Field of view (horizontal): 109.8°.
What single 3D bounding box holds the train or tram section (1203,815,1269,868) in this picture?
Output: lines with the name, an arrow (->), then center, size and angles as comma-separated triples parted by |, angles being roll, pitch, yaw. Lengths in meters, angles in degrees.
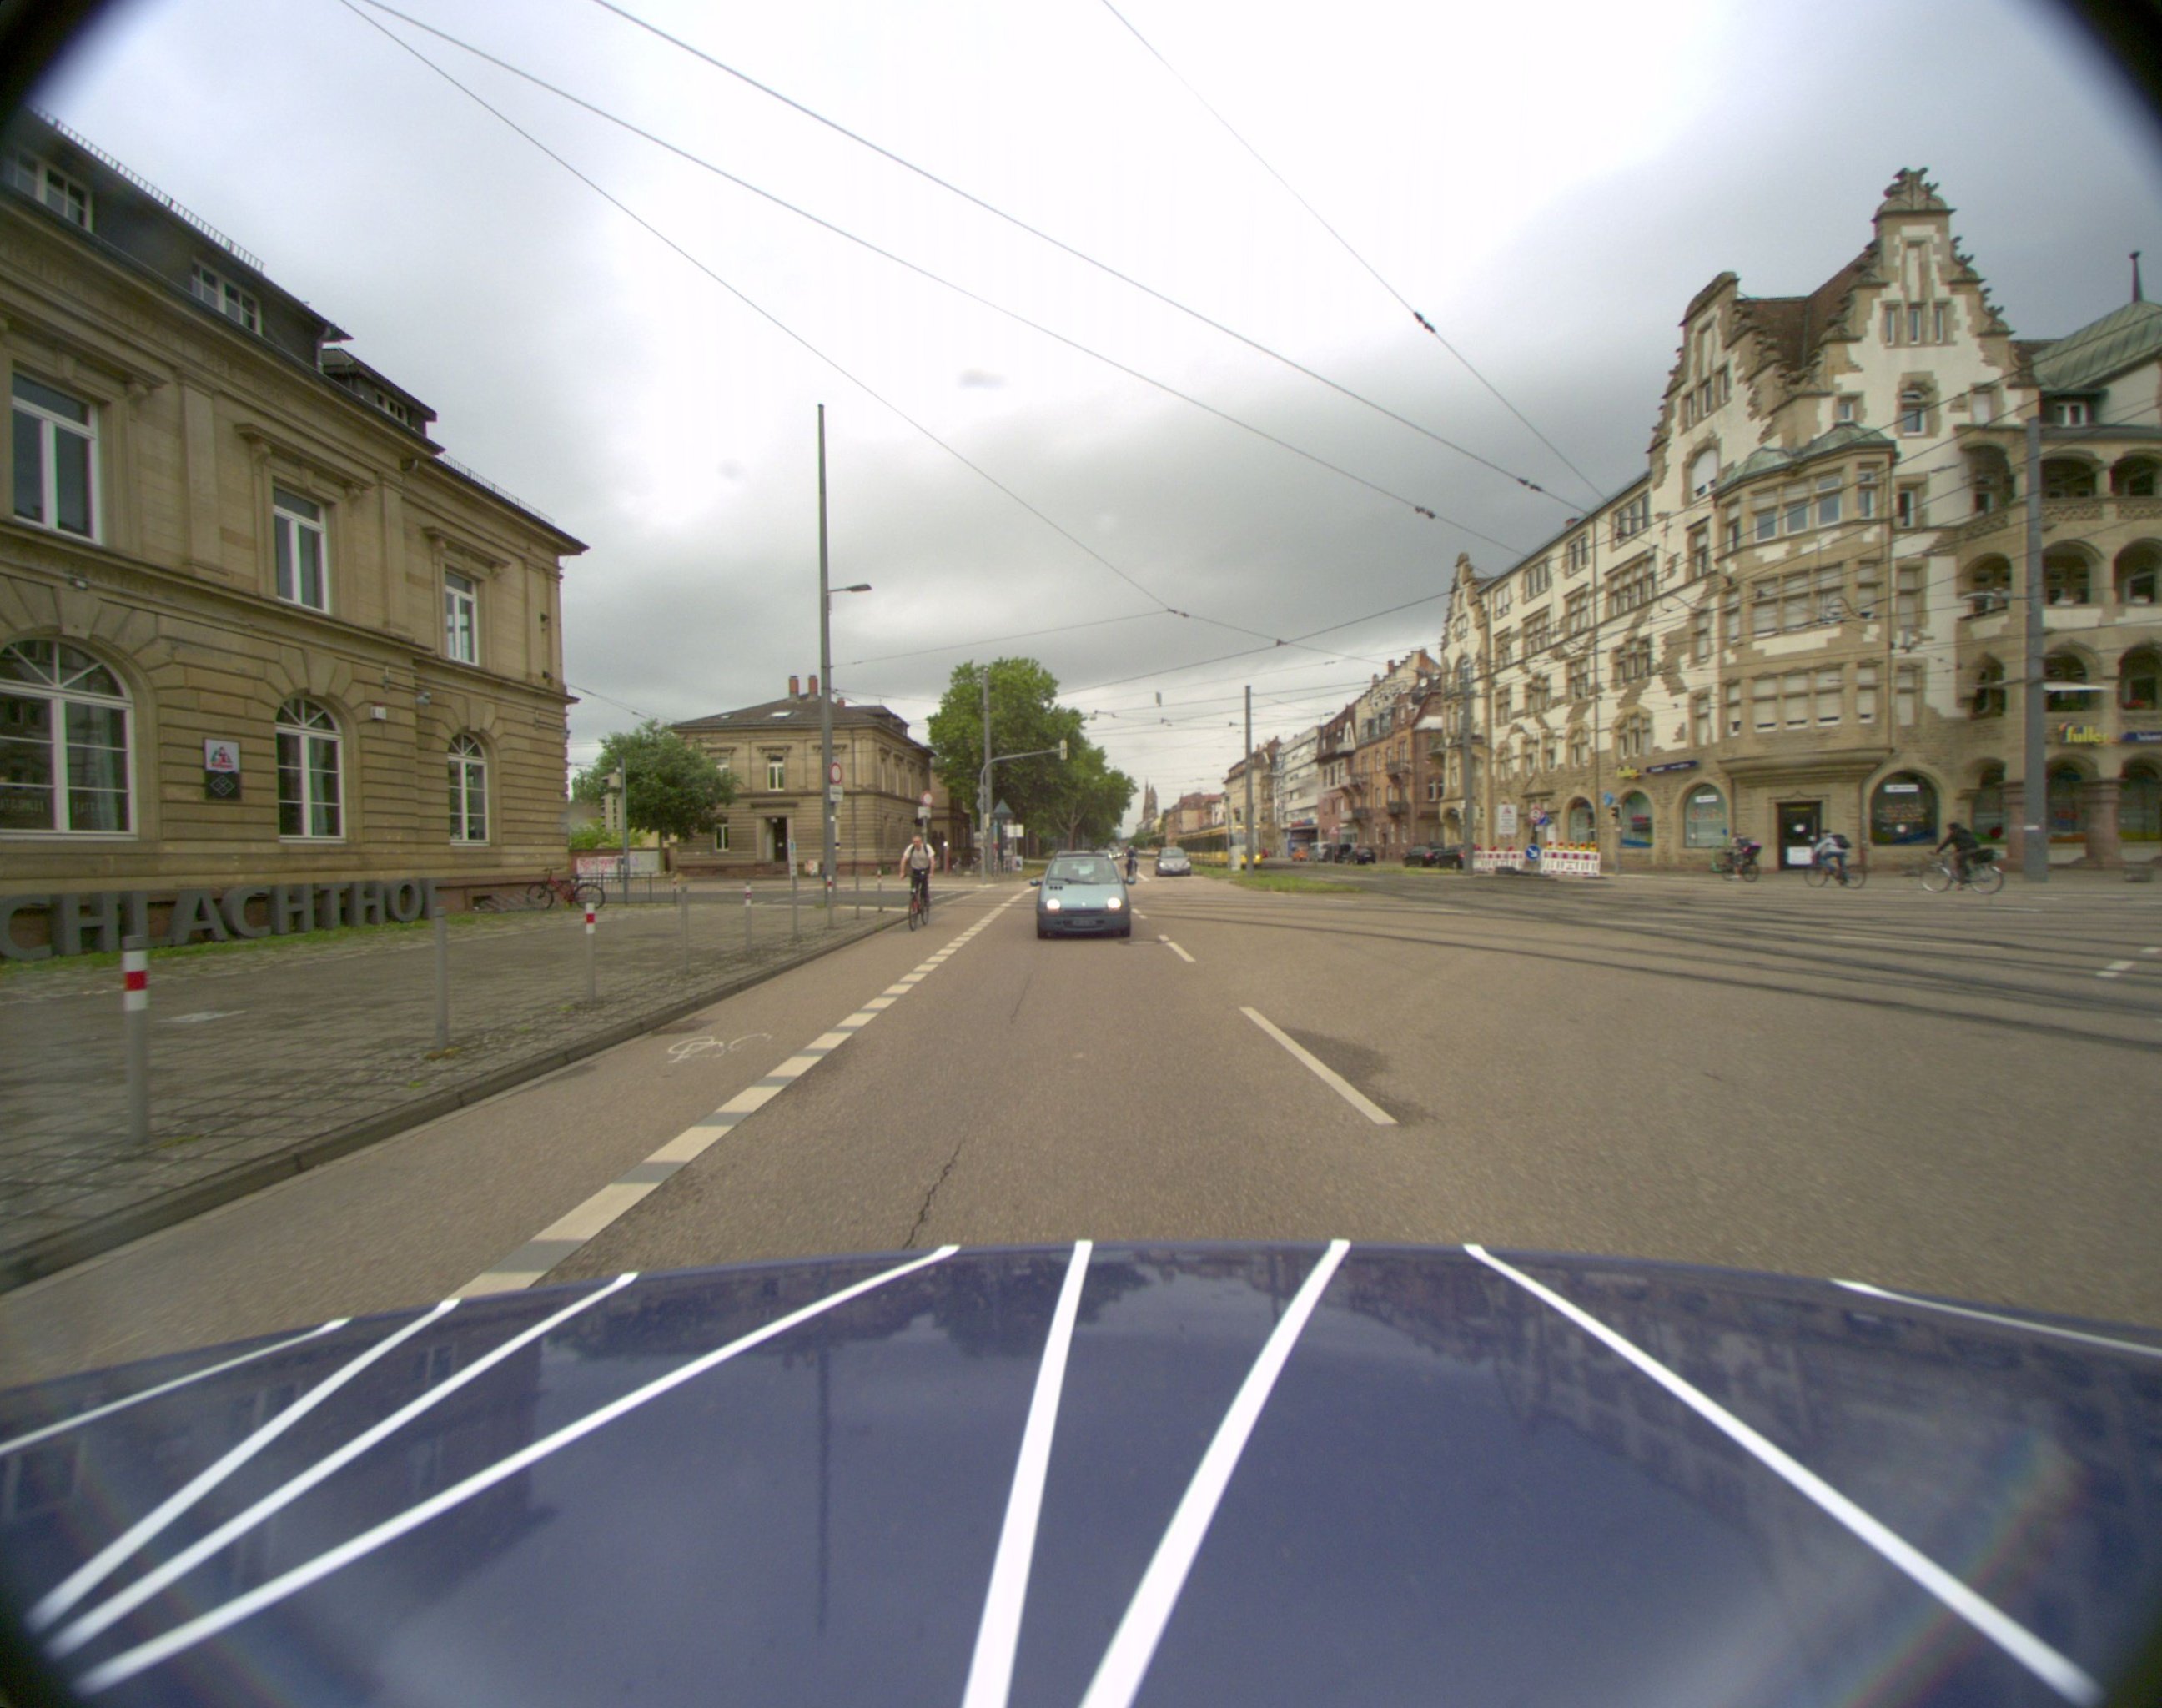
train or tram section -> 11.242, -0.962, 56.615 | 2.651, 3.418, 13.618 | -1, 1, 2

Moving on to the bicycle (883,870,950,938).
bicycle -> -3.279, 0.969, 15.373 | 0.814, 1.163, 2.276 | -1, 1, 0

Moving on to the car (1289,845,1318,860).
car -> 24.860, -0.197, 84.907 | 1.999, 1.587, 3.999 | -1, 1, -1

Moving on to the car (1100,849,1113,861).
car -> 2.990, 0.068, 90.335 | 1.546, 1.336, 3.796 | -1, 1, 1

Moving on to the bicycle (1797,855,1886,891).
bicycle -> 22.889, 0.557, 22.932 | 0.724, 1.031, 1.909 | -1, 0, -2

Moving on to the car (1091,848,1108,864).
car -> 1.787, 0.146, 72.543 | 1.534, 1.464, 3.353 | 0, 1, 3

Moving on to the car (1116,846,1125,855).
car -> 10.275, -0.929, 196.860 | 1.998, 2.002, 3.999 | -1, 1, 0

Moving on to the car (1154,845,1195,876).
car -> 5.231, 0.312, 42.991 | 1.869, 1.631, 3.774 | -1, 1, 0

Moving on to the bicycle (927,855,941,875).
bicycle -> -9.253, 0.673, 47.849 | 0.677, 1.158, 2.112 | -1, 1, -7

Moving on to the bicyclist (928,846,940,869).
bicyclist -> -9.236, 0.229, 47.846 | 0.695, 1.392, 0.815 | -1, 2, -9

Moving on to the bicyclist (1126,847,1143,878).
bicyclist -> 2.766, 0.440, 39.462 | 0.812, 1.587, 0.890 | -1, 0, 0

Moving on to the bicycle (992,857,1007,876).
bicycle -> -4.993, 0.757, 46.845 | 0.718, 1.062, 1.699 | -1, 1, 0

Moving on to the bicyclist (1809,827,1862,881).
bicyclist -> 22.876, 0.005, 23.058 | 0.724, 1.596, 0.859 | -1, 0, -2

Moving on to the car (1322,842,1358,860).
car -> 24.382, -0.339, 71.564 | 1.999, 1.587, 3.999 | -1, 1, -1

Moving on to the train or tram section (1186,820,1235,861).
train or tram section -> 11.720, -1.295, 70.190 | 2.651, 3.418, 13.618 | -1, 1, 2

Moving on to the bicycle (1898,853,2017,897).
bicycle -> 22.061, 0.515, 19.191 | 0.751, 1.030, 1.915 | -1, -1, -2

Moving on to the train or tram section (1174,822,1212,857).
train or tram section -> 12.196, -1.619, 83.806 | 2.651, 3.418, 13.618 | -1, 1, 2

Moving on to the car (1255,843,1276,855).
car -> 26.444, -0.749, 109.290 | 1.999, 1.587, 3.999 | -1, 1, -1

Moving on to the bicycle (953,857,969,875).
bicycle -> -7.376, 0.723, 46.851 | 0.718, 1.062, 1.699 | -1, 1, 0

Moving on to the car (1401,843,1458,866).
car -> 23.940, 0.018, 52.342 | 1.999, 1.434, 3.999 | -1, 1, -1

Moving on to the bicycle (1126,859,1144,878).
bicycle -> 2.780, 0.776, 39.469 | 0.812, 0.939, 2.147 | -1, -1, 0

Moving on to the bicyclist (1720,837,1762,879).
bicyclist -> 23.472, 0.136, 27.037 | 0.708, 1.436, 0.973 | -1, 0, 5

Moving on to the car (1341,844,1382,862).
car -> 24.179, -0.130, 65.595 | 1.999, 1.434, 3.999 | -1, 1, -1

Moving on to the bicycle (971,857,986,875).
bicycle -> -6.313, 0.719, 46.863 | 0.718, 1.062, 1.699 | -1, 1, 0

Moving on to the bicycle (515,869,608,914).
bicycle -> -13.210, 0.957, 19.375 | 1.859, 1.072, 0.546 | 2, 1, -16

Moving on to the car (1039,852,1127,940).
car -> 0.133, 0.724, 14.901 | 1.534, 1.464, 3.353 | 0, 1, 3

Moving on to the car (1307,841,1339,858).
car -> 24.824, -0.487, 78.122 | 1.999, 1.587, 3.999 | -1, 1, -1

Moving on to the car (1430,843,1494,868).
car -> 23.890, 0.074, 47.812 | 1.999, 1.434, 3.999 | -1, 1, -1

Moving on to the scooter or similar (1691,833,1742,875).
scooter or similar -> 26.375, -0.020, 31.574 | 0.565, 1.706, 1.830 | -1, 2, 0

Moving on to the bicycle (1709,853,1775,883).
bicycle -> 23.478, 0.481, 27.046 | 0.708, 1.031, 2.023 | -1, 0, 5

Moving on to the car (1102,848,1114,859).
car -> 3.490, -0.077, 98.553 | 1.534, 1.464, 3.353 | 0, 1, 3

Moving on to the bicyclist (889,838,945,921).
bicyclist -> -3.278, 0.489, 15.296 | 0.812, 1.591, 1.189 | -1, 2, 0

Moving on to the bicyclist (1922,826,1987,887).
bicyclist -> 22.050, 0.070, 19.188 | 0.751, 1.511, 0.765 | -1, 0, -2
